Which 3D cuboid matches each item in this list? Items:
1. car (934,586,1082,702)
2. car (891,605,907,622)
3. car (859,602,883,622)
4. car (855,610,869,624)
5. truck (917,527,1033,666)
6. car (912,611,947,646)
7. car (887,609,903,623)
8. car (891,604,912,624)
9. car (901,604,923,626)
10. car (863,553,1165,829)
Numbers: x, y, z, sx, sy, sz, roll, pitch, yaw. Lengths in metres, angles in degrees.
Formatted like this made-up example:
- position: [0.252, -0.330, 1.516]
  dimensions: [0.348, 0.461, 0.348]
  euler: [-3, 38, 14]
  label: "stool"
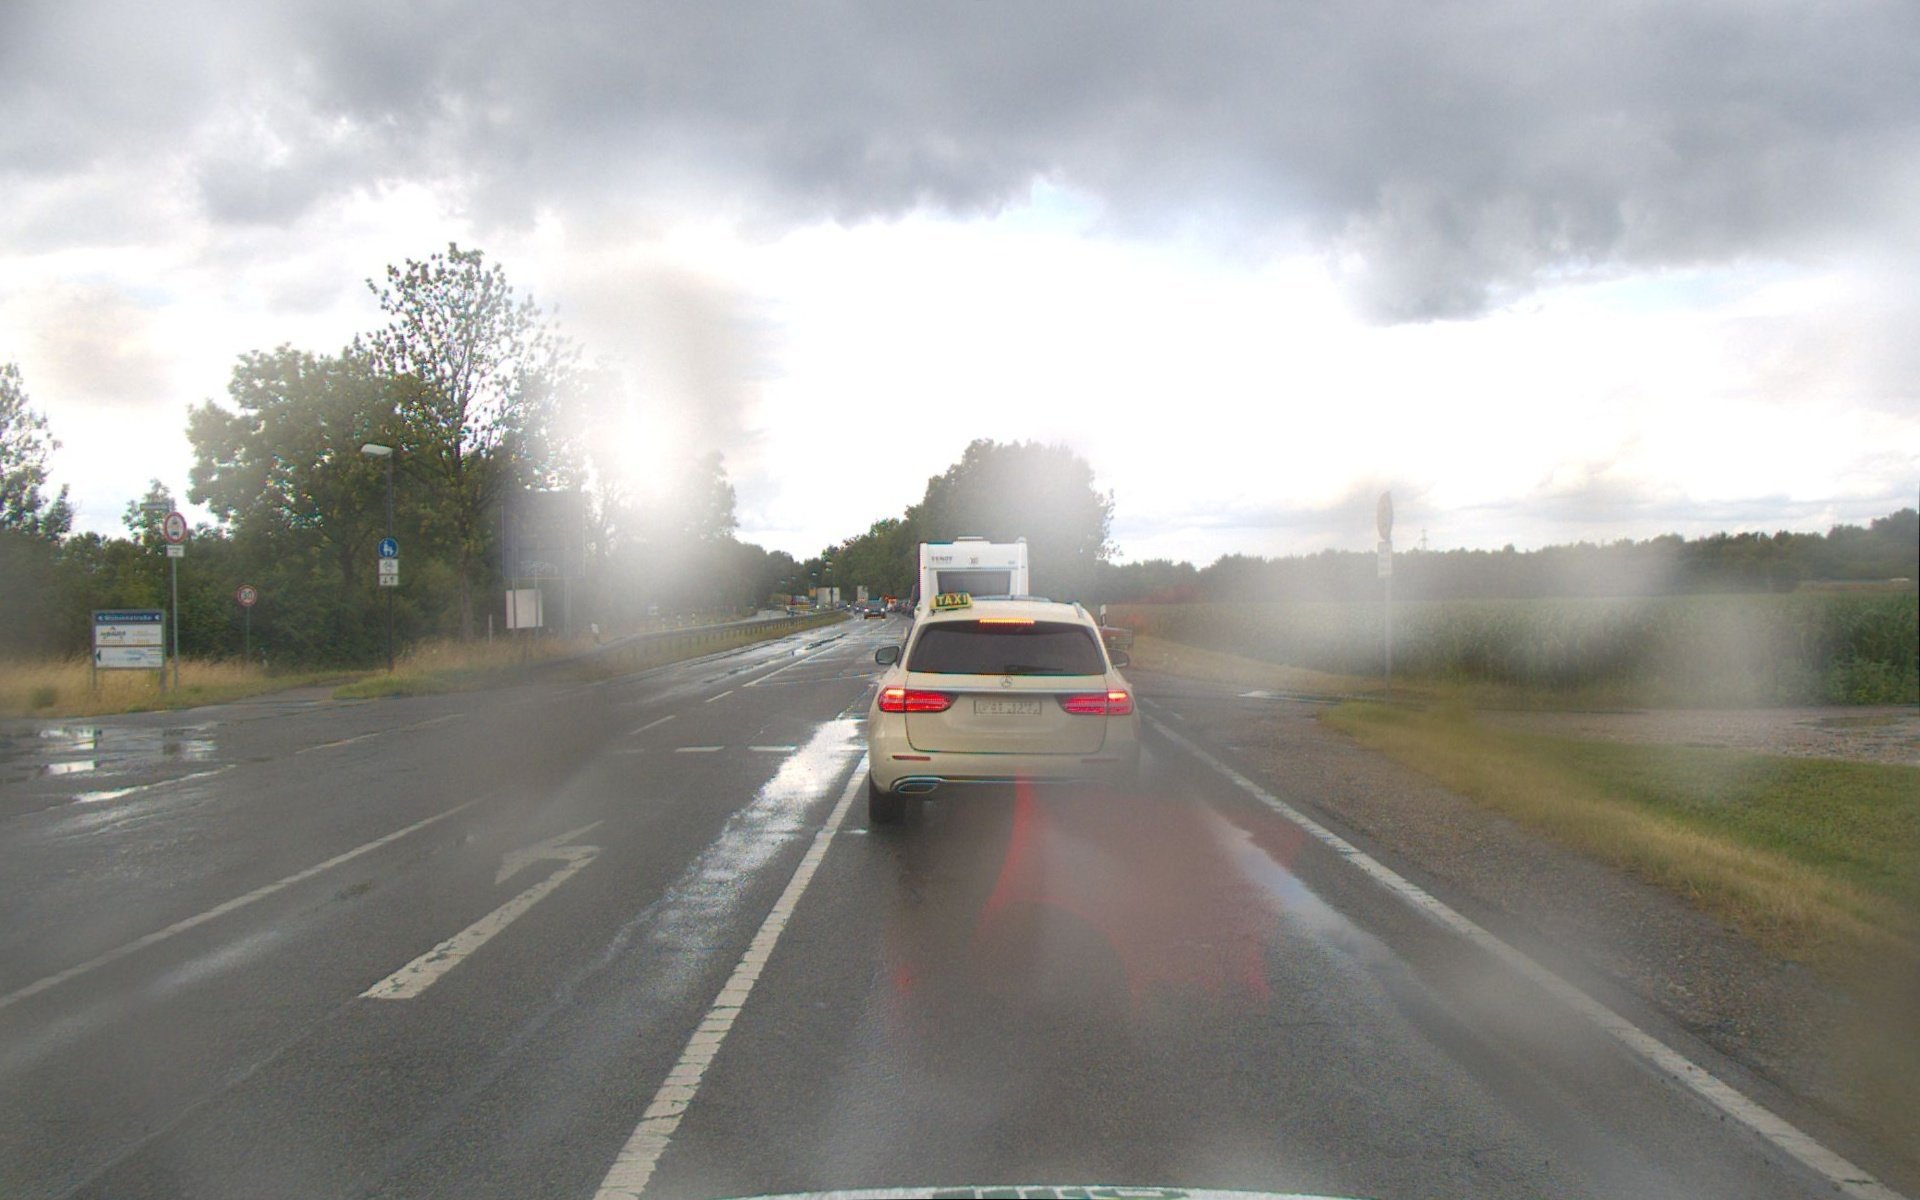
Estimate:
- position: [0.613, 0.615, 24.030]
  dimensions: [1.953, 1.488, 3.999]
  euler: [1, -1, -1]
  label: "car"
- position: [-6.990, 1.534, 190.797]
  dimensions: [1.705, 1.892, 3.784]
  euler: [-1, 0, -1]
  label: "car"
- position: [-7.498, 1.018, 139.532]
  dimensions: [1.791, 1.601, 3.999]
  euler: [1, -1, 0]
  label: "car"
- position: [-11.535, 2.019, 195.287]
  dimensions: [1.548, 1.669, 3.441]
  euler: [-1, -1, -1]
  label: "car"
- position: [0.256, -0.036, 37.187]
  dimensions: [2.315, 2.777, 7.312]
  euler: [-1, 0, -1]
  label: "truck"
- position: [-1.659, 1.566, 92.064]
  dimensions: [1.876, 1.873, 3.794]
  euler: [-1, -1, -1]
  label: "car"
- position: [-8.011, 1.962, 203.157]
  dimensions: [1.715, 1.691, 3.668]
  euler: [-1, -1, -6]
  label: "car"
- position: [-5.491, 1.272, 154.868]
  dimensions: [1.841, 1.792, 3.833]
  euler: [-1, 0, -1]
  label: "car"
- position: [-3.954, 1.250, 136.378]
  dimensions: [1.755, 1.808, 3.720]
  euler: [-1, -1, -1]
  label: "car"
- position: [0.301, 0.569, 11.934]
  dimensions: [1.805, 1.646, 3.999]
  euler: [0, -1, -1]
  label: "car"
